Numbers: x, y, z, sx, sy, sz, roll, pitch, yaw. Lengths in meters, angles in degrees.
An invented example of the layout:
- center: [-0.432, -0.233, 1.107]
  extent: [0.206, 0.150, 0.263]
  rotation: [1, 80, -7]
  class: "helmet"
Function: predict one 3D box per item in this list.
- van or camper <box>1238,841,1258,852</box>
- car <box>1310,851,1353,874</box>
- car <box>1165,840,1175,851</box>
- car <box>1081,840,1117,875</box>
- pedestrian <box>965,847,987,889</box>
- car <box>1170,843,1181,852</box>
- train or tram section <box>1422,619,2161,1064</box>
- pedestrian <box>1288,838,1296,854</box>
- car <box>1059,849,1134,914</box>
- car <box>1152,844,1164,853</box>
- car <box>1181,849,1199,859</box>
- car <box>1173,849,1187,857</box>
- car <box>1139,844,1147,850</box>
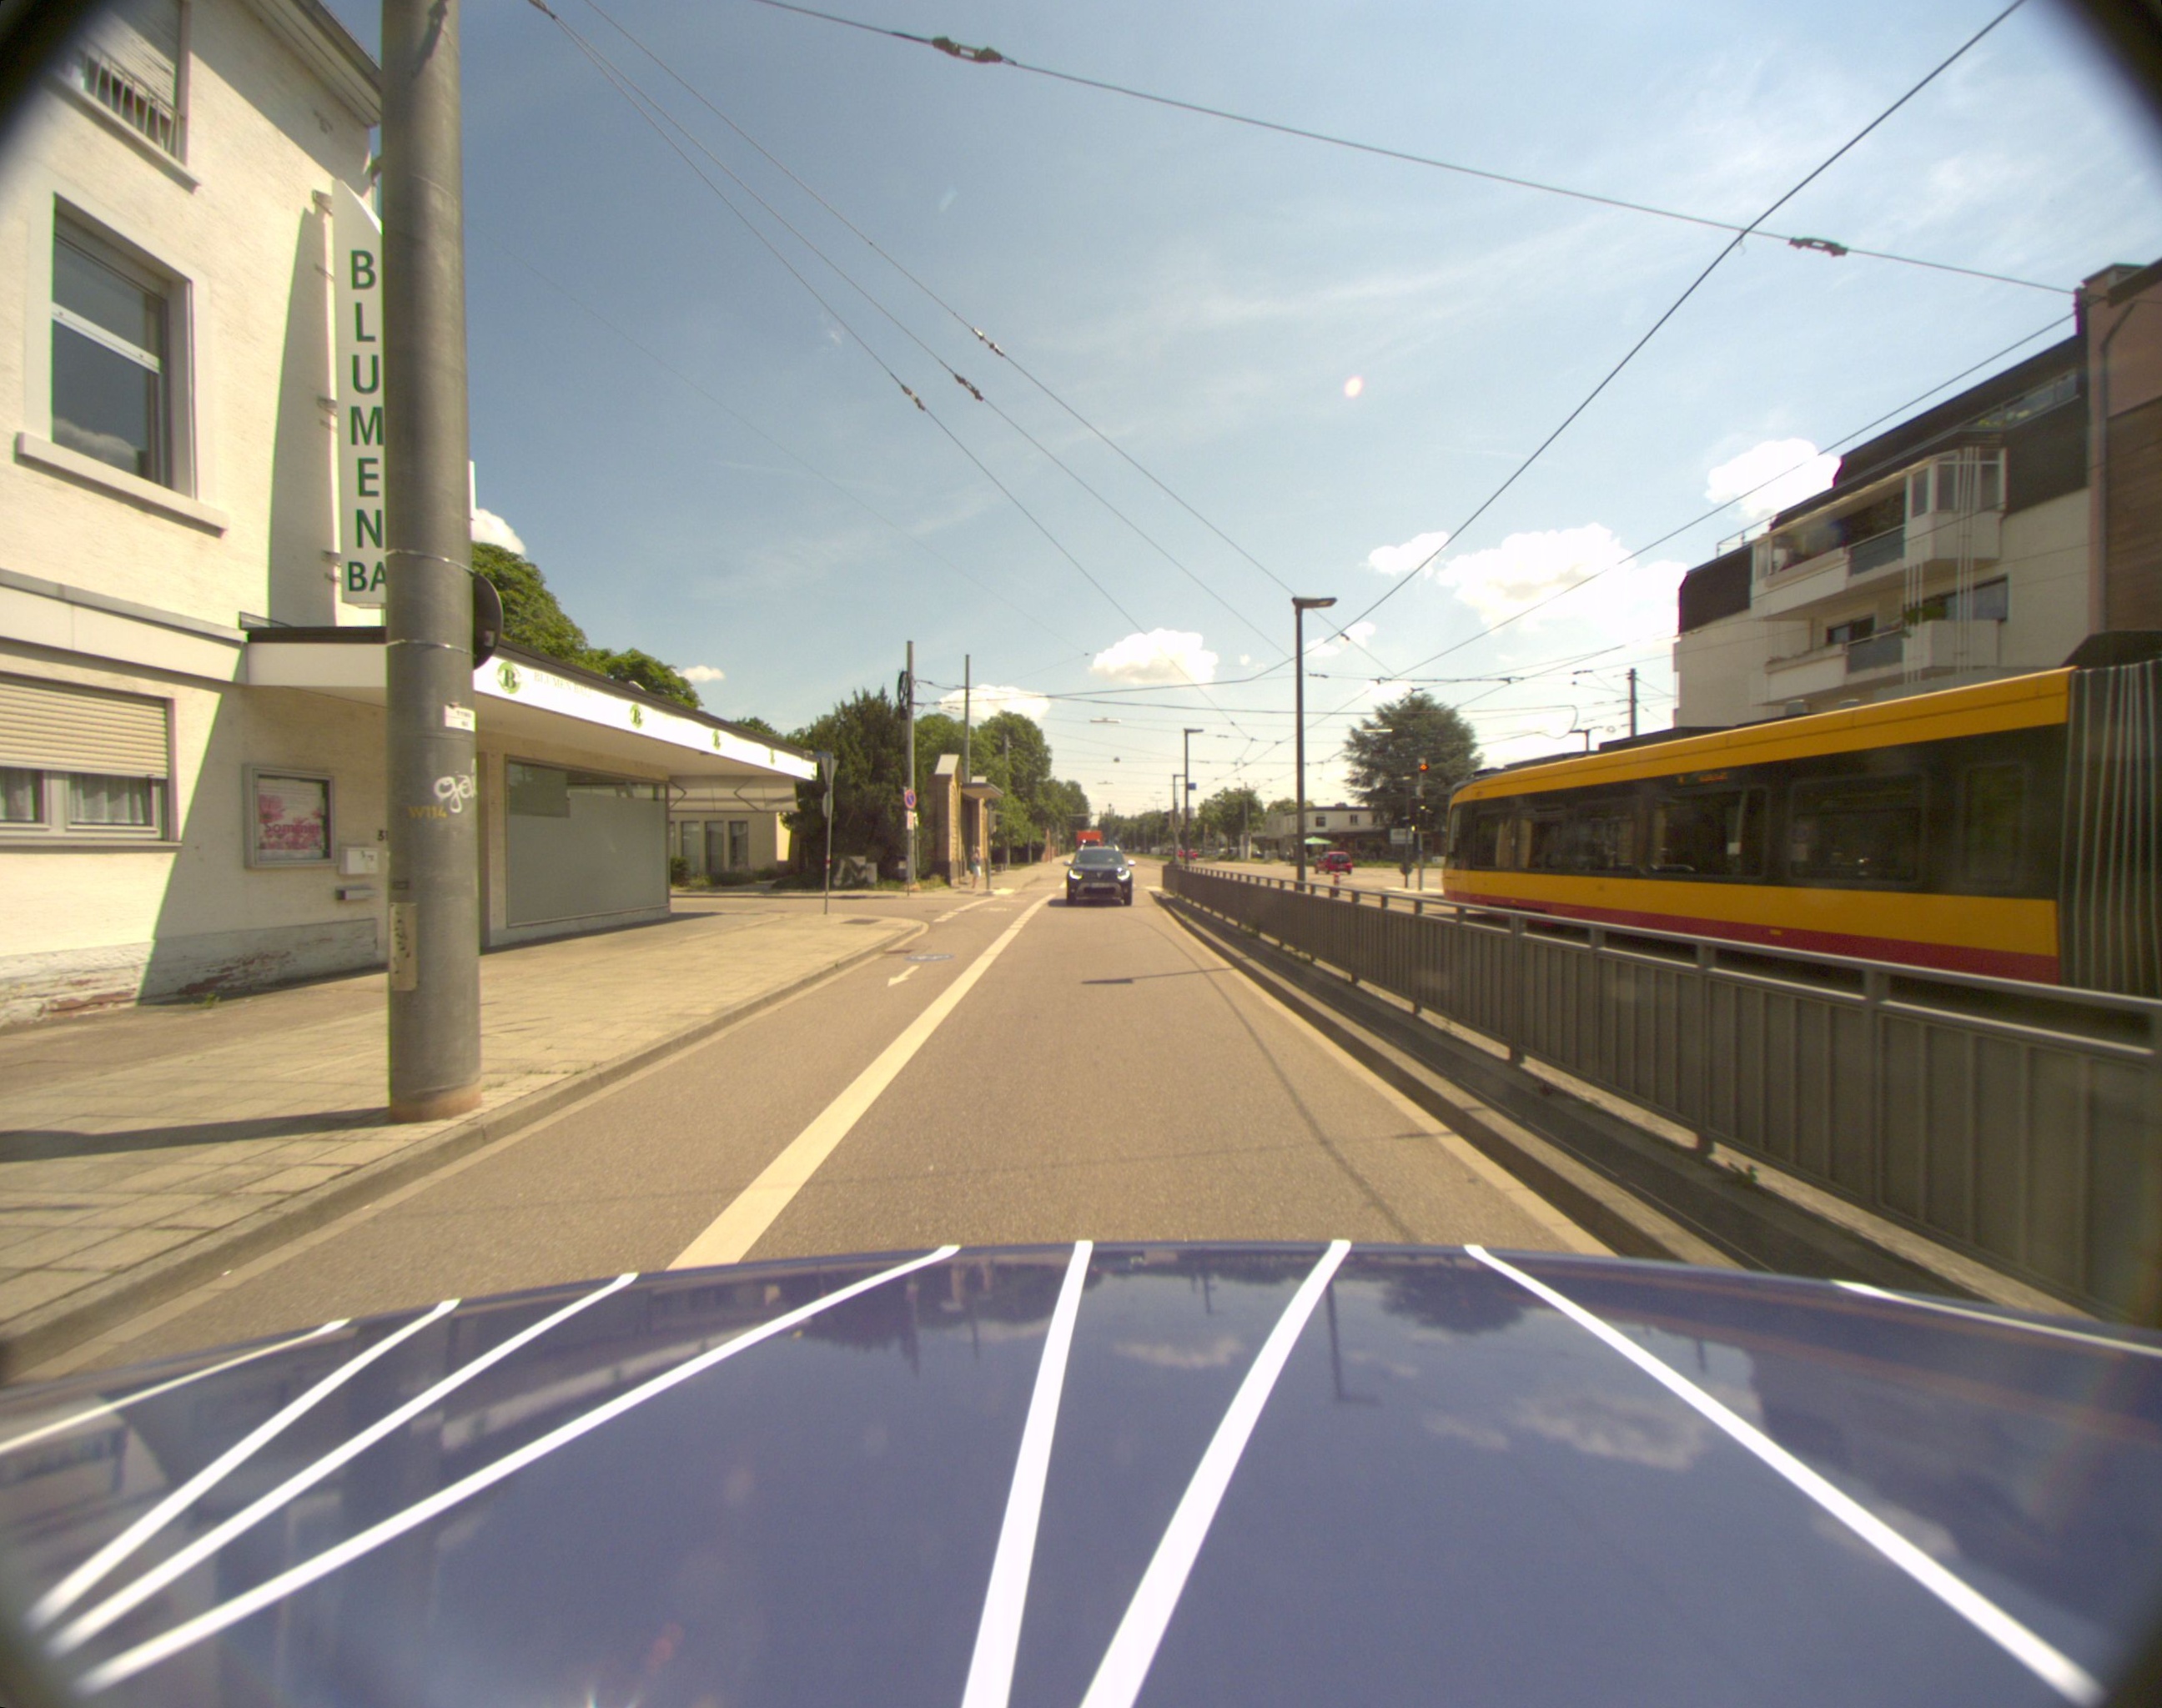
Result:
- center: [45.792, -2.056, 208.311]
  extent: [5.157, 3.099, 2.247]
  rotation: [0, 1, 0]
  class: "van or camper"
- center: [16.757, 0.545, 50.970]
  extent: [1.659, 1.436, 3.853]
  rotation: [0, 0, 1]
  class: "car"
- center: [21.219, -1.962, 180.771]
  extent: [1.744, 2.573, 3.999]
  rotation: [0, 1, -1]
  class: "car"
- center: [1.101, 0.191, 45.420]
  extent: [1.998, 2.002, 4.000]
  rotation: [0, 1, 3]
  class: "car"
- center: [-4.215, 0.542, 30.535]
  extent: [0.563, 1.656, 0.683]
  rotation: [1, 1, 23]
  class: "pedestrian"
- center: [20.576, -1.340, 165.866]
  extent: [1.966, 1.953, 3.999]
  rotation: [0, 1, -1]
  class: "car"
- center: [10.268, -0.150, 9.070]
  extent: [3.259, 3.547, 20.496]
  rotation: [0, 1, 0]
  class: "train or tram section"
- center: [24.035, -0.882, 86.717]
  extent: [0.488, 1.765, 0.682]
  rotation: [-5, 3, -19]
  class: "pedestrian"
- center: [0.533, 0.655, 20.873]
  extent: [1.845, 1.565, 4.488]
  rotation: [0, 1, 4]
  class: "car"
- center: [17.085, -1.218, 168.727]
  extent: [1.863, 1.865, 4.553]
  rotation: [0, 1, -3]
  class: "car"
- center: [16.521, -0.023, 115.308]
  extent: [1.998, 1.441, 4.821]
  rotation: [0, 1, 1]
  class: "car"
- center: [17.021, -0.214, 130.786]
  extent: [1.784, 1.346, 3.999]
  rotation: [0, 1, -1]
  class: "car"
- center: [17.015, -2.013, 209.117]
  extent: [1.744, 1.587, 3.999]
  rotation: [0, 1, -1]
  class: "car"
